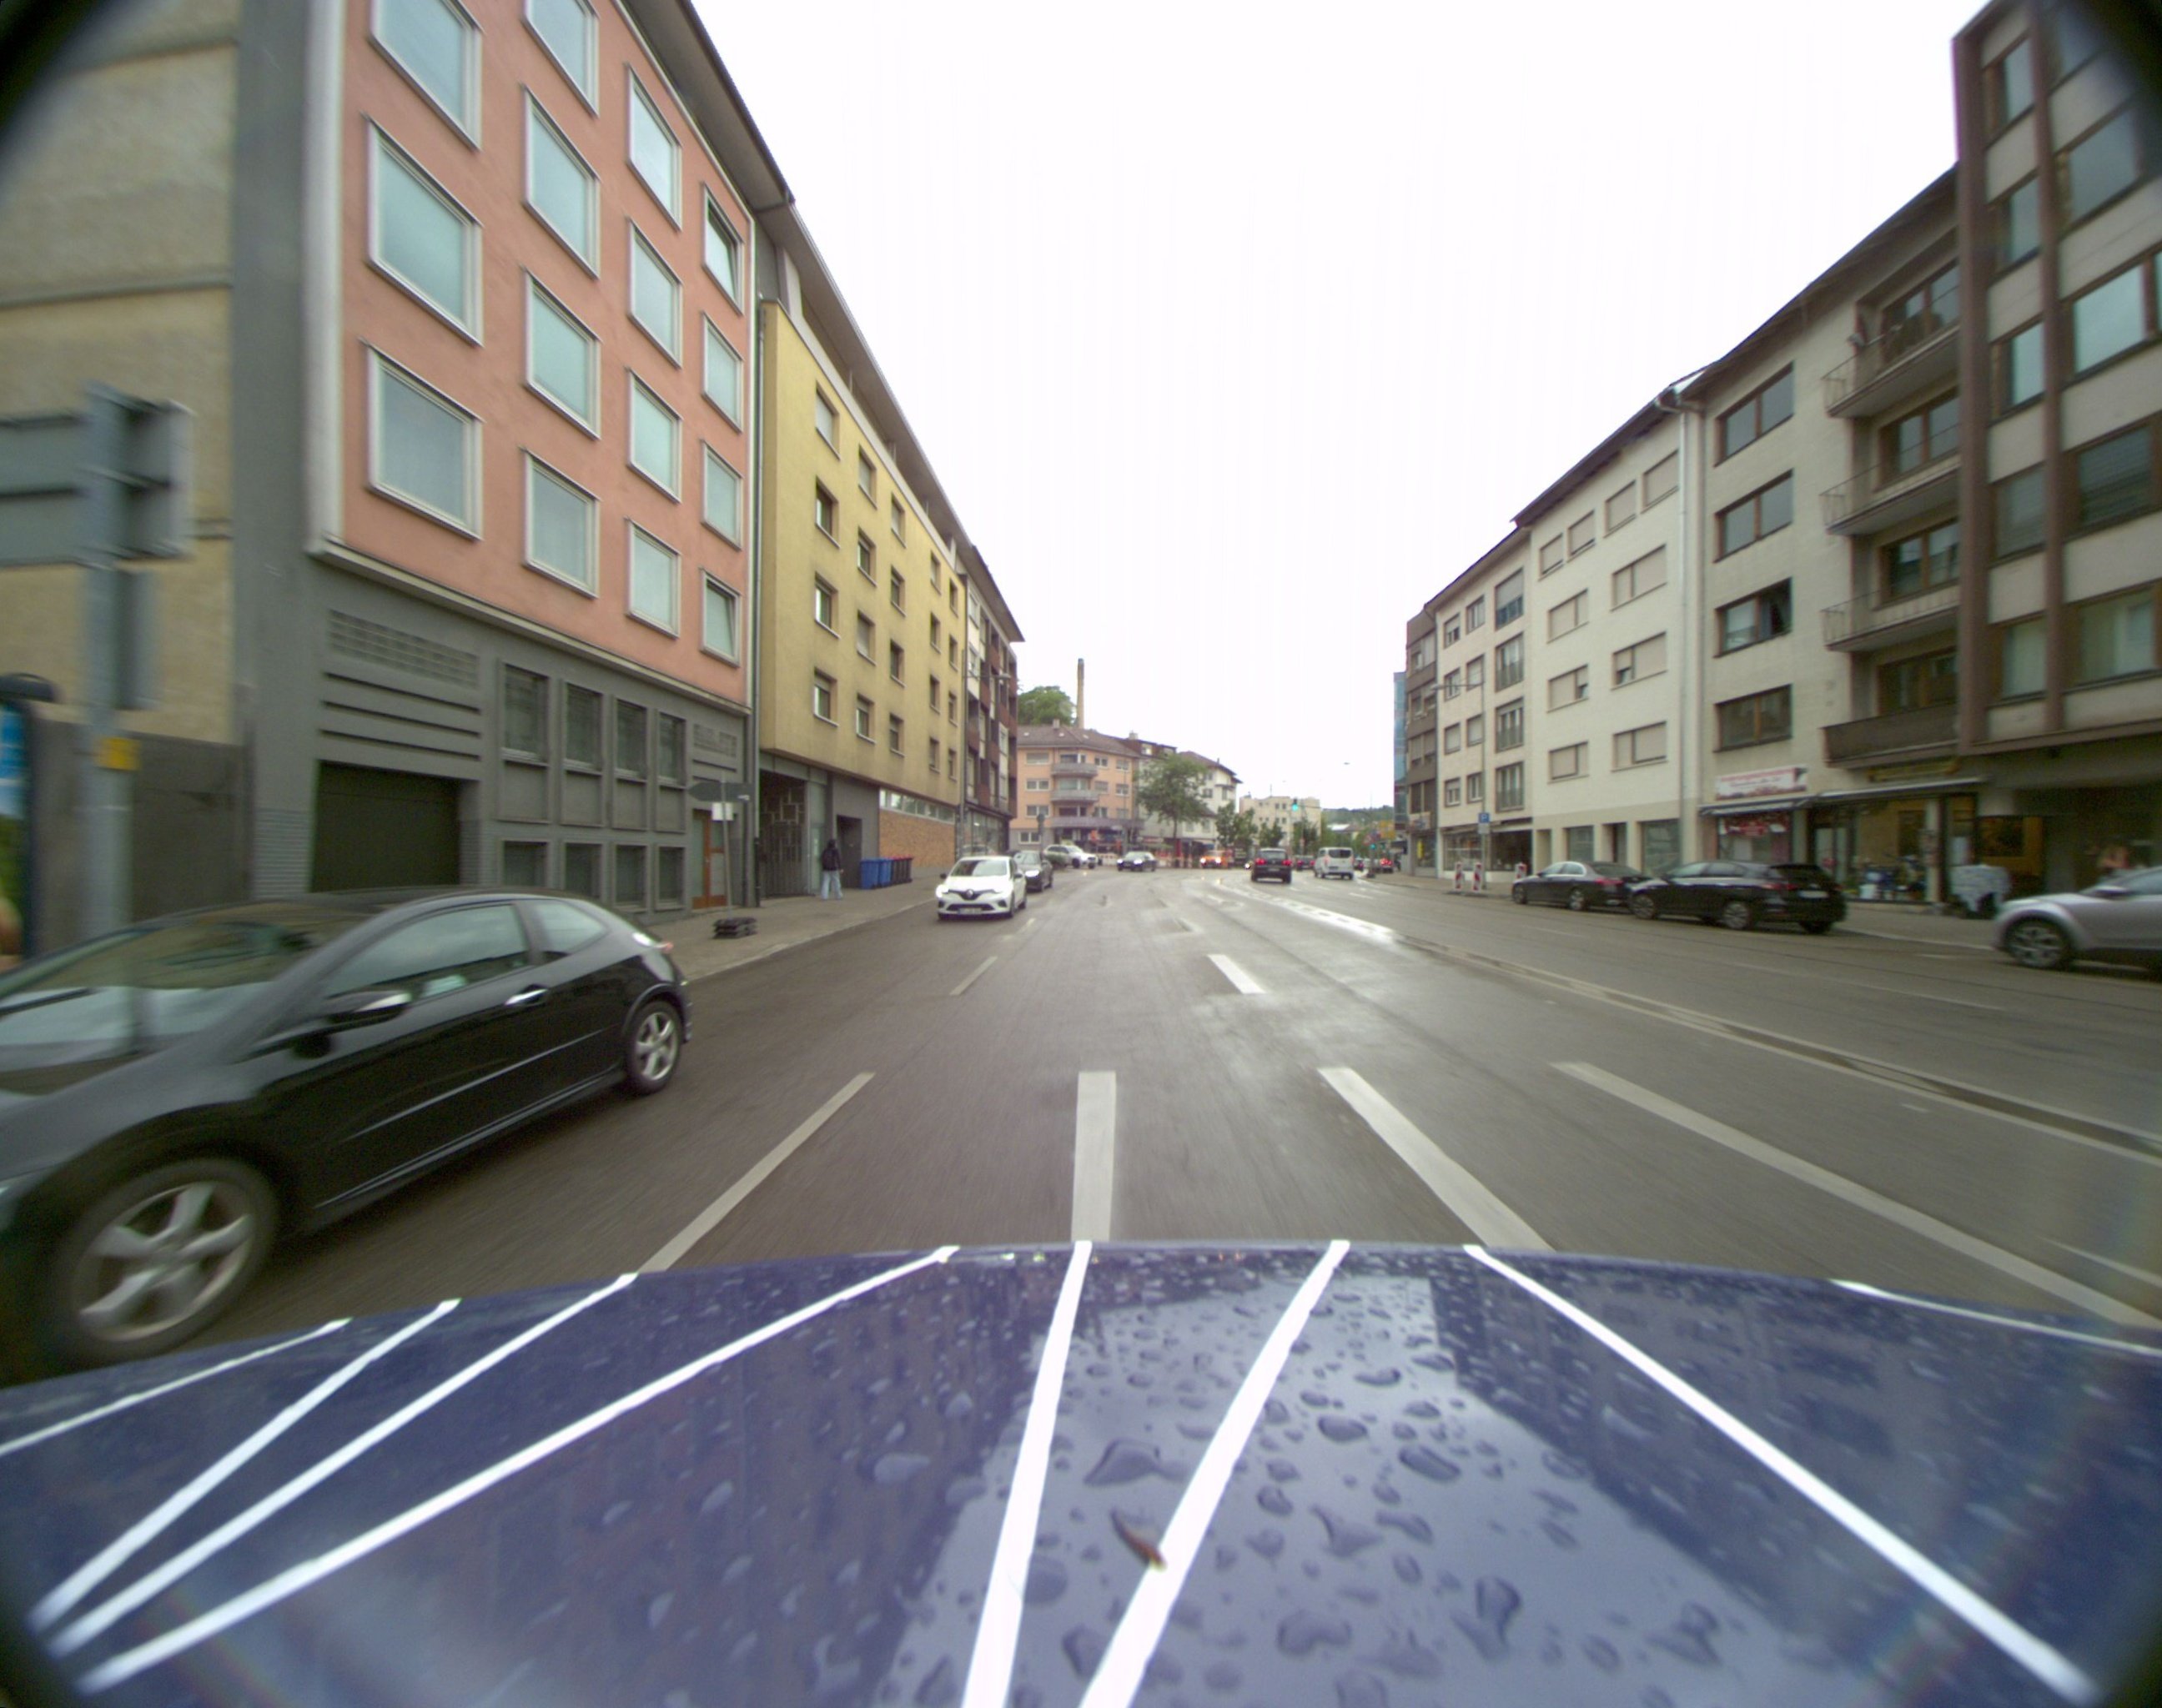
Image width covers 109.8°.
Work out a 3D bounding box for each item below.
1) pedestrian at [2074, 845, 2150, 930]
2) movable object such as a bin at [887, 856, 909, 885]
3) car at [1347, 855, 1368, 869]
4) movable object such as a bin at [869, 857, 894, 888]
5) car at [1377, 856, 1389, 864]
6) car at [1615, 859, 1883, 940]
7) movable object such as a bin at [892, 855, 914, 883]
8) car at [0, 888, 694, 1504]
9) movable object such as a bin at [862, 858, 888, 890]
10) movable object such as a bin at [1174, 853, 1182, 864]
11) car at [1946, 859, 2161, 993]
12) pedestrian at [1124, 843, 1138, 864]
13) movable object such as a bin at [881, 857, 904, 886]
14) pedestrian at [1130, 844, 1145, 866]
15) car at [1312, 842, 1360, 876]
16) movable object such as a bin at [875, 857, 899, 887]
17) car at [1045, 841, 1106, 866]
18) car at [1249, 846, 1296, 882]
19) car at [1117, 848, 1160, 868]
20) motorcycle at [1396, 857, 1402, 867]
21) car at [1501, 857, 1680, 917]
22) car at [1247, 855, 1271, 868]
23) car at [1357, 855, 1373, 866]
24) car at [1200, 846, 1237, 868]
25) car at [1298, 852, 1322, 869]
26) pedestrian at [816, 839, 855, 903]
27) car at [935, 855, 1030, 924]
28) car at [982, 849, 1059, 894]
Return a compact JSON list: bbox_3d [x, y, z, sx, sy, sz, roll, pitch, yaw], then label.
[{"bbox_3d":[19.539,0.619,14.411,0.544,1.574,0.669,-1,1,-11],"label":"pedestrian"},{"bbox_3d":[-7.002,0.623,29.114,0.682,1.070,0.668,0,1,3],"label":"movable object such as a bin"},{"bbox_3d":[30.787,0.886,84.566,1.723,1.391,3.602,0,-1,28],"label":"car"},{"bbox_3d":[-7.106,0.665,27.063,0.682,1.070,0.668,0,1,3],"label":"movable object such as a bin"},{"bbox_3d":[58.725,1.153,147.811,1.773,1.515,4.292,1,0,26],"label":"car"},{"bbox_3d":[14.559,0.900,17.024,1.999,1.468,4.518,1,1,0],"label":"car"},{"bbox_3d":[-6.974,0.591,29.800,0.682,1.070,0.668,0,1,3],"label":"movable object such as a bin"},{"bbox_3d":[-3.774,1.027,3.443,1.788,1.488,4.057,-2,0,2],"label":"car"},{"bbox_3d":[-7.151,0.686,26.362,0.682,1.070,0.668,0,1,3],"label":"movable object such as a bin"},{"bbox_3d":[9.584,0.426,74.857,0.621,1.025,0.532,2,0,23],"label":"movable object such as a bin"},{"bbox_3d":[13.814,0.898,9.039,1.912,1.545,4.631,1,1,4],"label":"car"},{"bbox_3d":[4.173,-0.057,63.670,0.822,1.679,0.792,0,3,-23],"label":"pedestrian"},{"bbox_3d":[-7.042,0.639,28.427,0.682,1.070,0.668,0,1,3],"label":"movable object such as a bin"},{"bbox_3d":[4.778,0.065,64.741,0.920,1.851,1.029,0,3,-17],"label":"pedestrian"},{"bbox_3d":[16.818,0.282,50.319,2.122,2.003,5.131,-2,1,9],"label":"car"},{"bbox_3d":[-7.076,0.654,27.747,0.682,1.070,0.668,0,1,3],"label":"movable object such as a bin"},{"bbox_3d":[-0.489,-0.072,58.574,2.004,1.711,4.783,1,2,-41],"label":"car"},{"bbox_3d":[9.458,0.434,37.766,1.865,1.637,4.257,1,1,10],"label":"car"},{"bbox_3d":[4.199,0.323,54.894,1.808,1.331,4.286,1,-1,22],"label":"car"},{"bbox_3d":[38.560,0.972,92.132,0.669,1.081,2.199,-2,0,23],"label":"motorcycle"},{"bbox_3d":[14.673,0.862,22.333,1.887,1.468,4.978,1,1,0],"label":"car"},{"bbox_3d":[21.169,0.905,90.305,1.840,1.433,4.007,-2,0,26],"label":"car"},{"bbox_3d":[40.017,0.902,107.153,1.930,1.465,4.611,3,1,22],"label":"car"},{"bbox_3d":[13.813,0.253,76.103,2.194,2.074,5.943,0,0,26],"label":"car"},{"bbox_3d":[21.169,0.584,70.120,1.685,1.464,4.007,3,1,23],"label":"car"},{"bbox_3d":[-7.074,0.479,21.947,0.674,1.777,1.095,0,0,6],"label":"pedestrian"},{"bbox_3d":[-2.316,0.787,18.760,1.680,1.395,3.999,-1,2,2],"label":"car"},{"bbox_3d":[-2.137,0.575,28.598,2.039,1.380,5.294,1,2,5],"label":"car"}]
